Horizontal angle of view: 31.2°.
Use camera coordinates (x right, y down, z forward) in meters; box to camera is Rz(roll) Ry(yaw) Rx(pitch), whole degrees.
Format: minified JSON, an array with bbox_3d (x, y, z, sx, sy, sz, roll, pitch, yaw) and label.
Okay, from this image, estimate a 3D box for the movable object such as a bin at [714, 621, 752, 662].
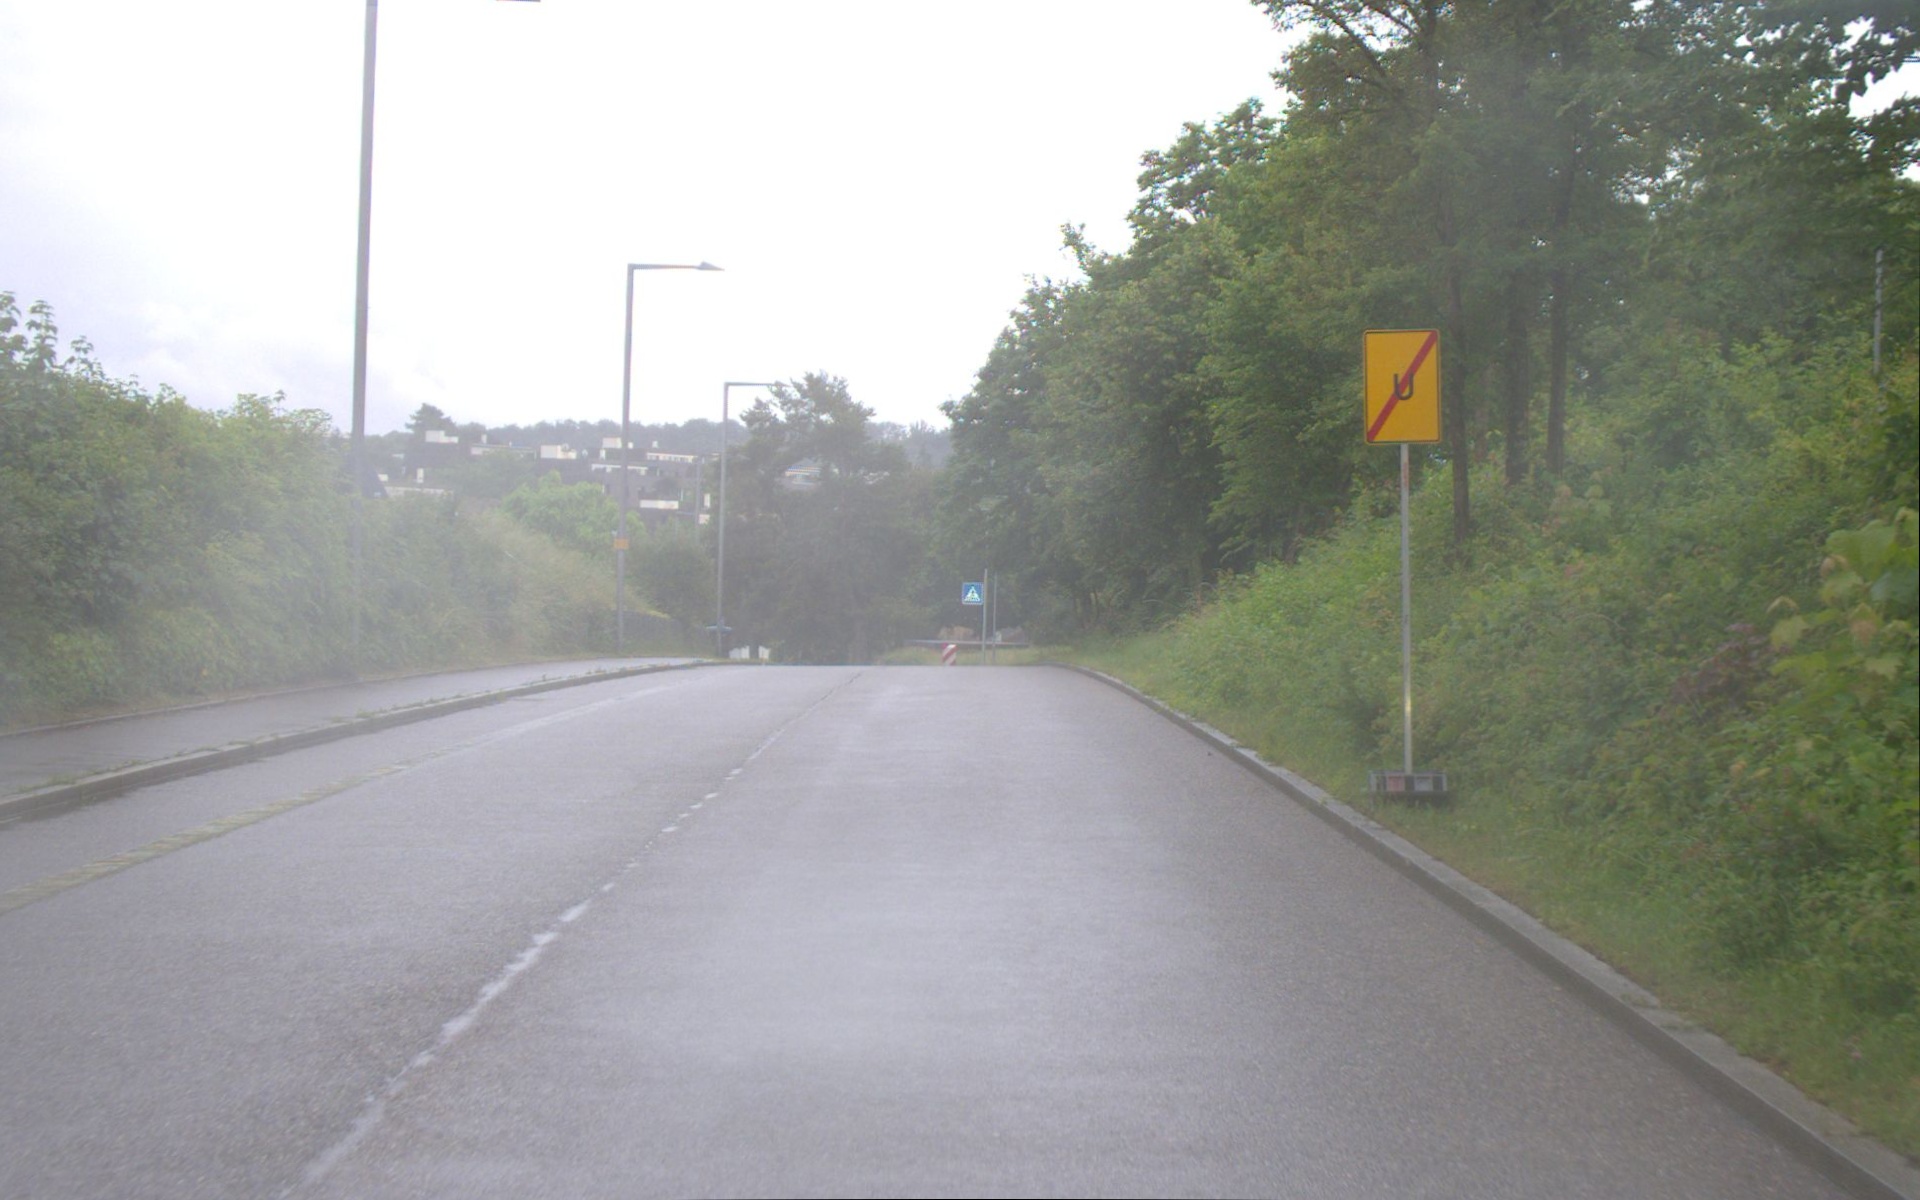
[{"bbox_3d":[-7.962,1.465,120.542,1.131,1.335,1.399,4,-2,-9],"label":"movable object such as a bin"}]
